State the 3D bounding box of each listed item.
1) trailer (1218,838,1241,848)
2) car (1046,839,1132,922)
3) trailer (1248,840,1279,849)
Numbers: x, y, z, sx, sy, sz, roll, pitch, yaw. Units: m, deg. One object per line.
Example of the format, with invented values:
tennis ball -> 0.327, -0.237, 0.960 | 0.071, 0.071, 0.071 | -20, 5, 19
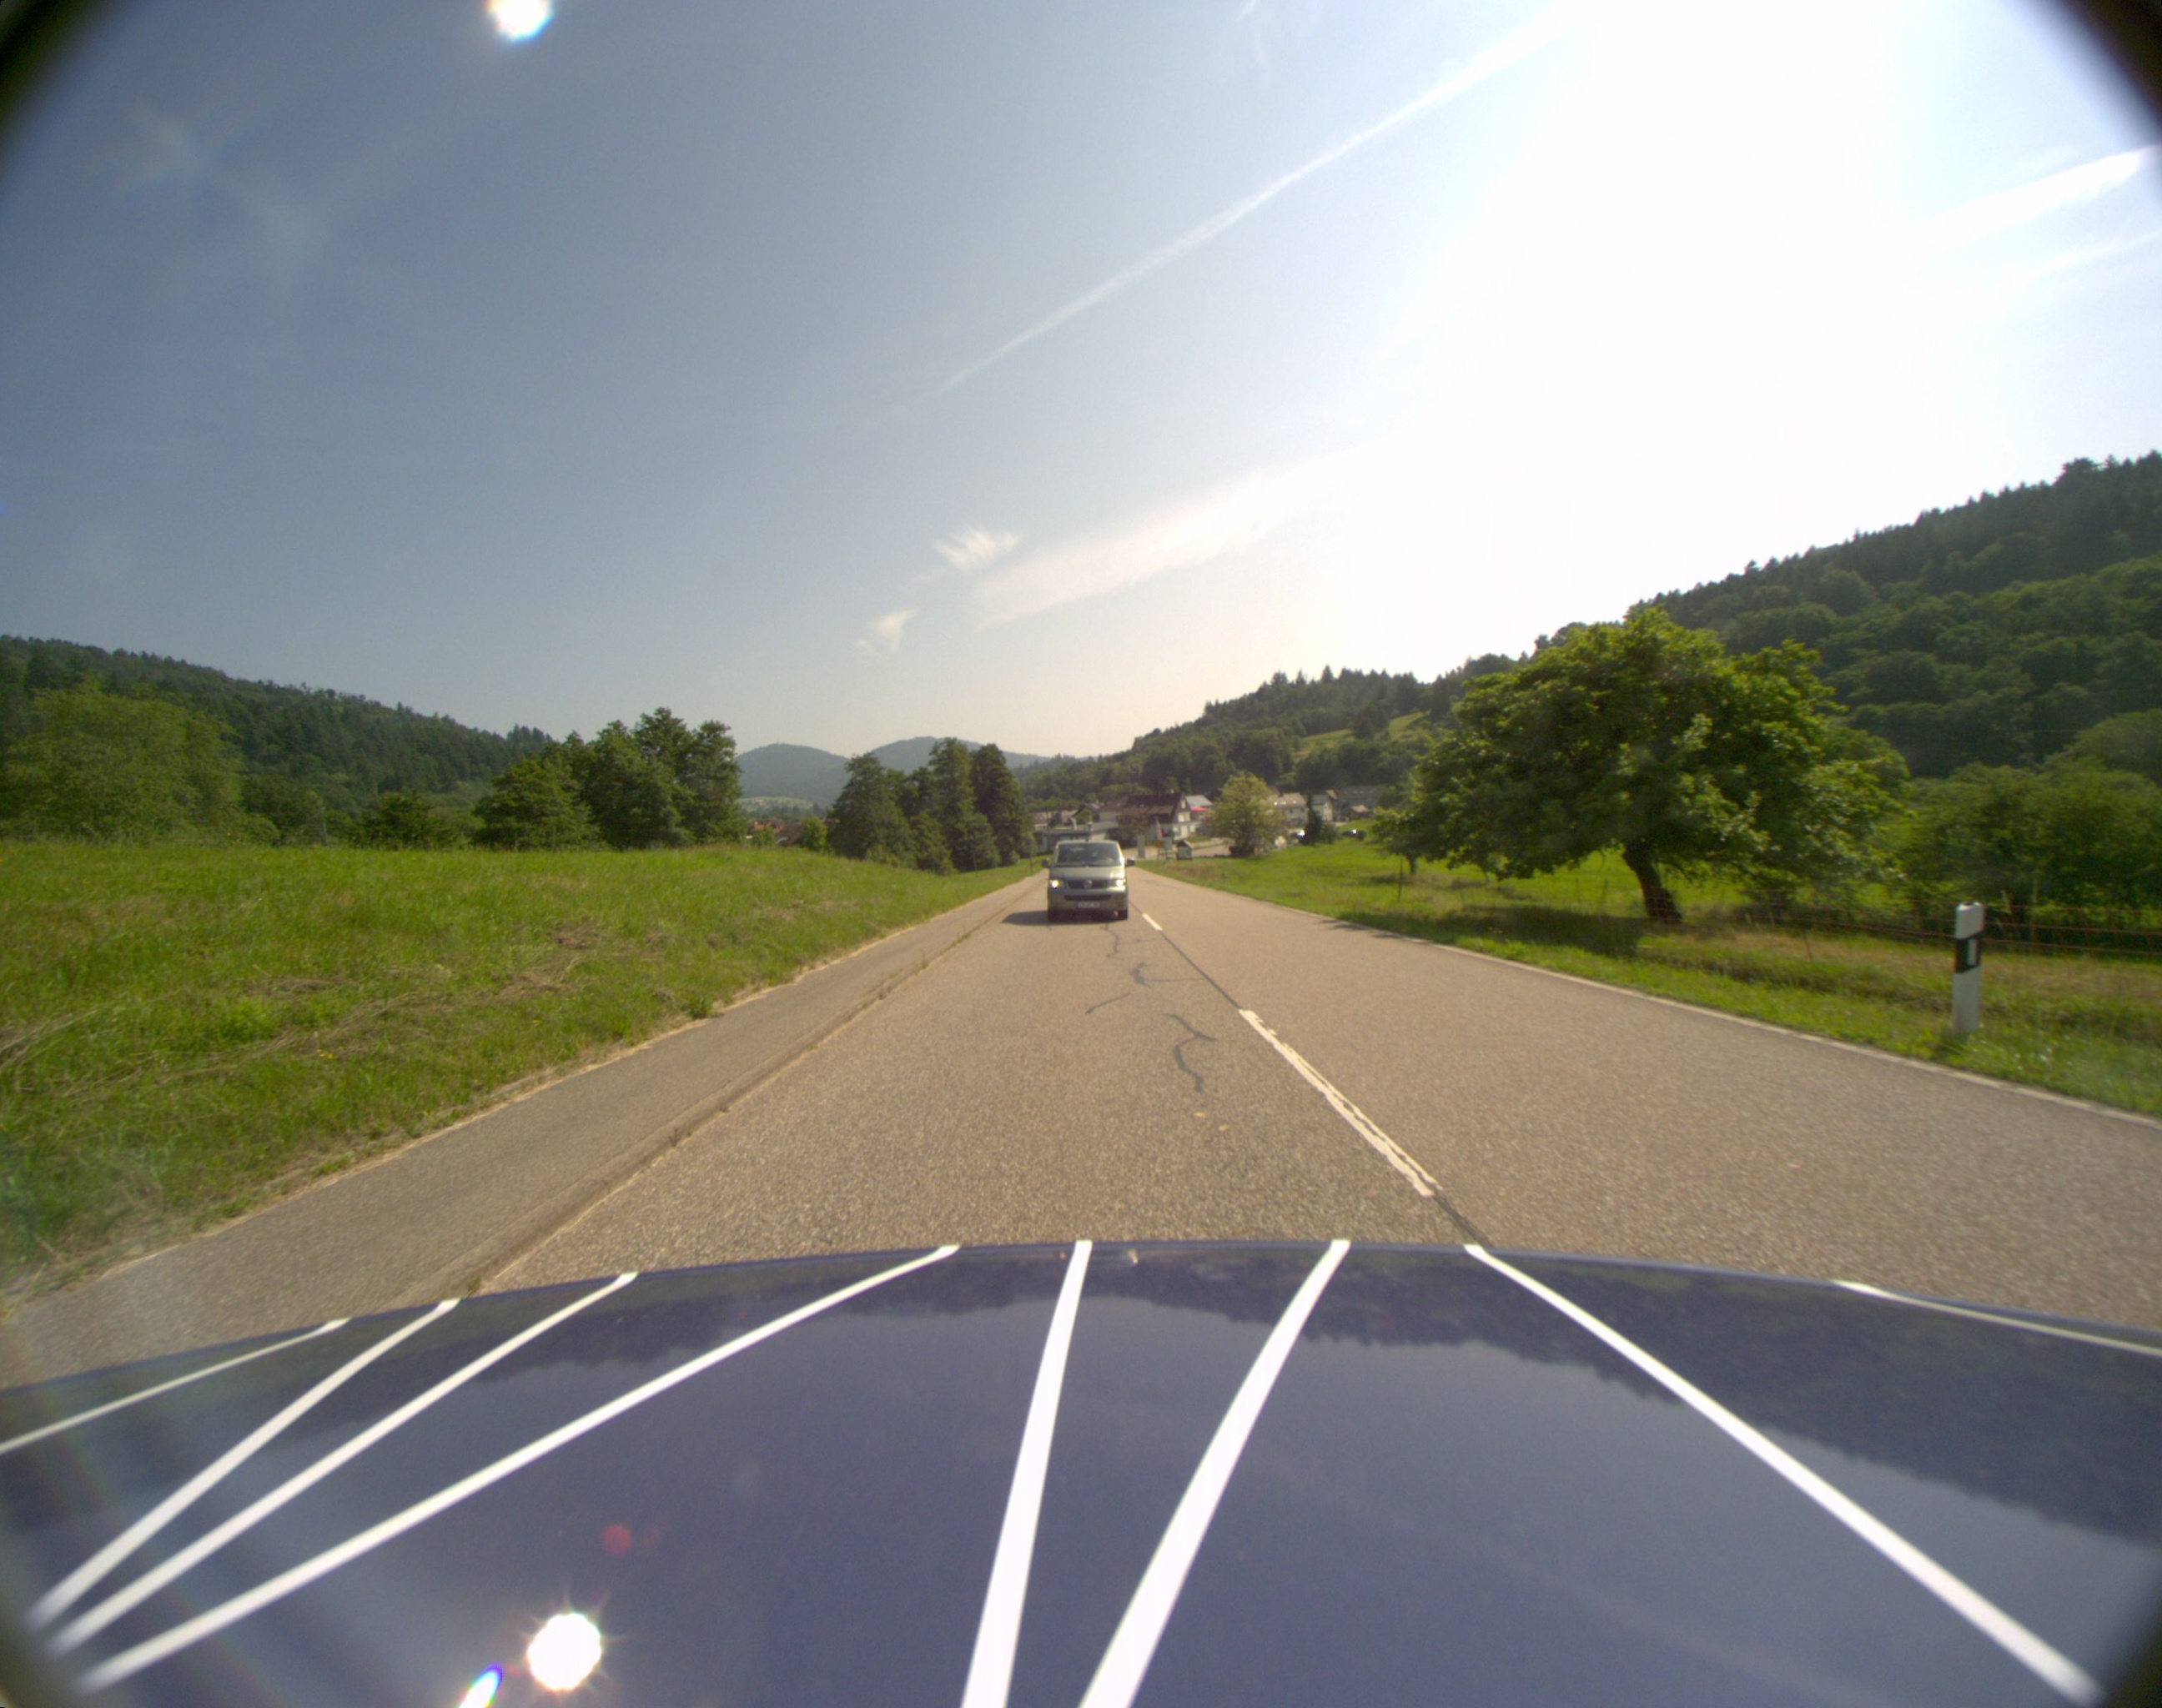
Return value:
trailer -> 24.327, -1.829, 124.239 | 1.995, 1.220, 5.553 | -2, 3, 30
car -> 0.226, 0.596, 20.675 | 2.024, 1.970, 5.048 | -1, 1, 1
trailer -> 26.585, -1.364, 110.646 | 3.935, 0.934, 1.870 | -2, 4, 32
